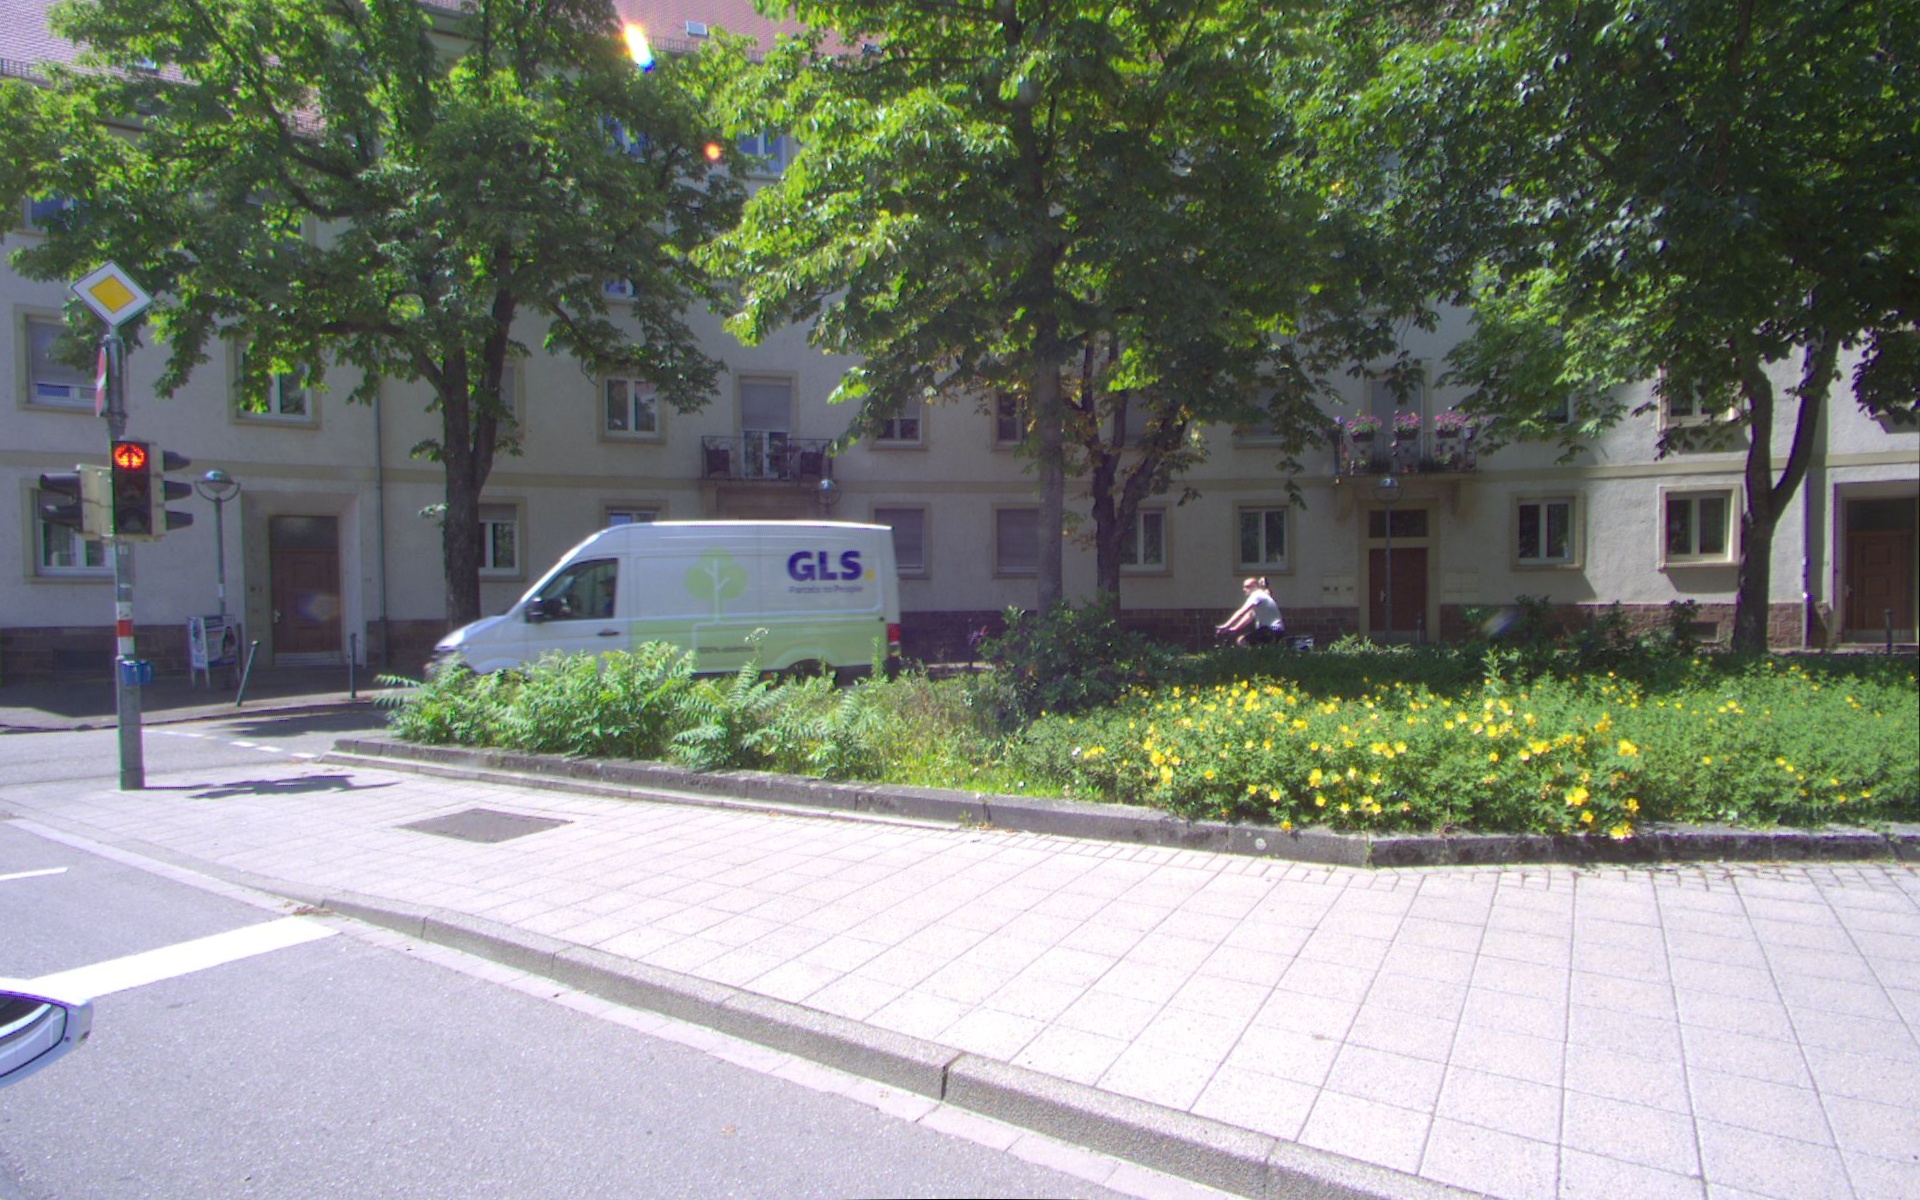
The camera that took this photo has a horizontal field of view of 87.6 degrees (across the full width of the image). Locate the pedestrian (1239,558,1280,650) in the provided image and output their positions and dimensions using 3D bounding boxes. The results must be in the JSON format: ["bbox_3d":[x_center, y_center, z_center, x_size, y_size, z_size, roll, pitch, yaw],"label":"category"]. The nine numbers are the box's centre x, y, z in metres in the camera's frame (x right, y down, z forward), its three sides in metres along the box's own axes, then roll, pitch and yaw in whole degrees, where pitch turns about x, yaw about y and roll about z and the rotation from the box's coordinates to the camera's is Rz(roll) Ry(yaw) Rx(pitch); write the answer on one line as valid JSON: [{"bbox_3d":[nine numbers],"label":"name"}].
[{"bbox_3d":[6.787,0.095,22.733,0.758,2.040,0.807,-1,0,8],"label":"pedestrian"}]

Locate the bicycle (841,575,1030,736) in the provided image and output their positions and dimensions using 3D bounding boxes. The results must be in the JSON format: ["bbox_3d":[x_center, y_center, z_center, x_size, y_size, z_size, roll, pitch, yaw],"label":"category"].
[{"bbox_3d":[-0.255,0.511,9.168,1.809,1.377,0.351,-2,-1,32],"label":"bicycle"}]

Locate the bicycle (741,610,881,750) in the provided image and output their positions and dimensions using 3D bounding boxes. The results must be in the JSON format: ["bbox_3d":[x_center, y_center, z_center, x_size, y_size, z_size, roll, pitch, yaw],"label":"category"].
[{"bbox_3d":[-1.304,0.681,8.659,1.269,1.141,0.332,-2,-1,32],"label":"bicycle"}]

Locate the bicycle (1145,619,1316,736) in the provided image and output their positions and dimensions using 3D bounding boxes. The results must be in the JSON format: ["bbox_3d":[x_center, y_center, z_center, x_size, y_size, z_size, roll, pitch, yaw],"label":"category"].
[{"bbox_3d":[3.576,1.017,13.378,2.126,1.505,0.593,-1,0,8],"label":"bicycle"}]

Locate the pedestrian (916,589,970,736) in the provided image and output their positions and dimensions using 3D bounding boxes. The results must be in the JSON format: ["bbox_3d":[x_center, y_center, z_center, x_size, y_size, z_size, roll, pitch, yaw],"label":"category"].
[{"bbox_3d":[-0.151,0.559,9.106,0.345,1.301,0.365,-1,0,32],"label":"pedestrian"}]

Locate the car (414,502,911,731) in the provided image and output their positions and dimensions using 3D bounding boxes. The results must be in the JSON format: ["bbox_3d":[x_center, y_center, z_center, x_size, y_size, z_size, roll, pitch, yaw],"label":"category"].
[{"bbox_3d":[-3.654,0.167,13.110,5.742,2.624,1.997,-1,1,-13],"label":"car"}]

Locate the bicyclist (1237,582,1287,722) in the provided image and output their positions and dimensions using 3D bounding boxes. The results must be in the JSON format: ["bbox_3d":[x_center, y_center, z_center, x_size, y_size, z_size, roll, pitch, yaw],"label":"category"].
[{"bbox_3d":[4.002,0.681,13.312,0.524,1.823,0.603,-1,0,7],"label":"bicyclist"}]
